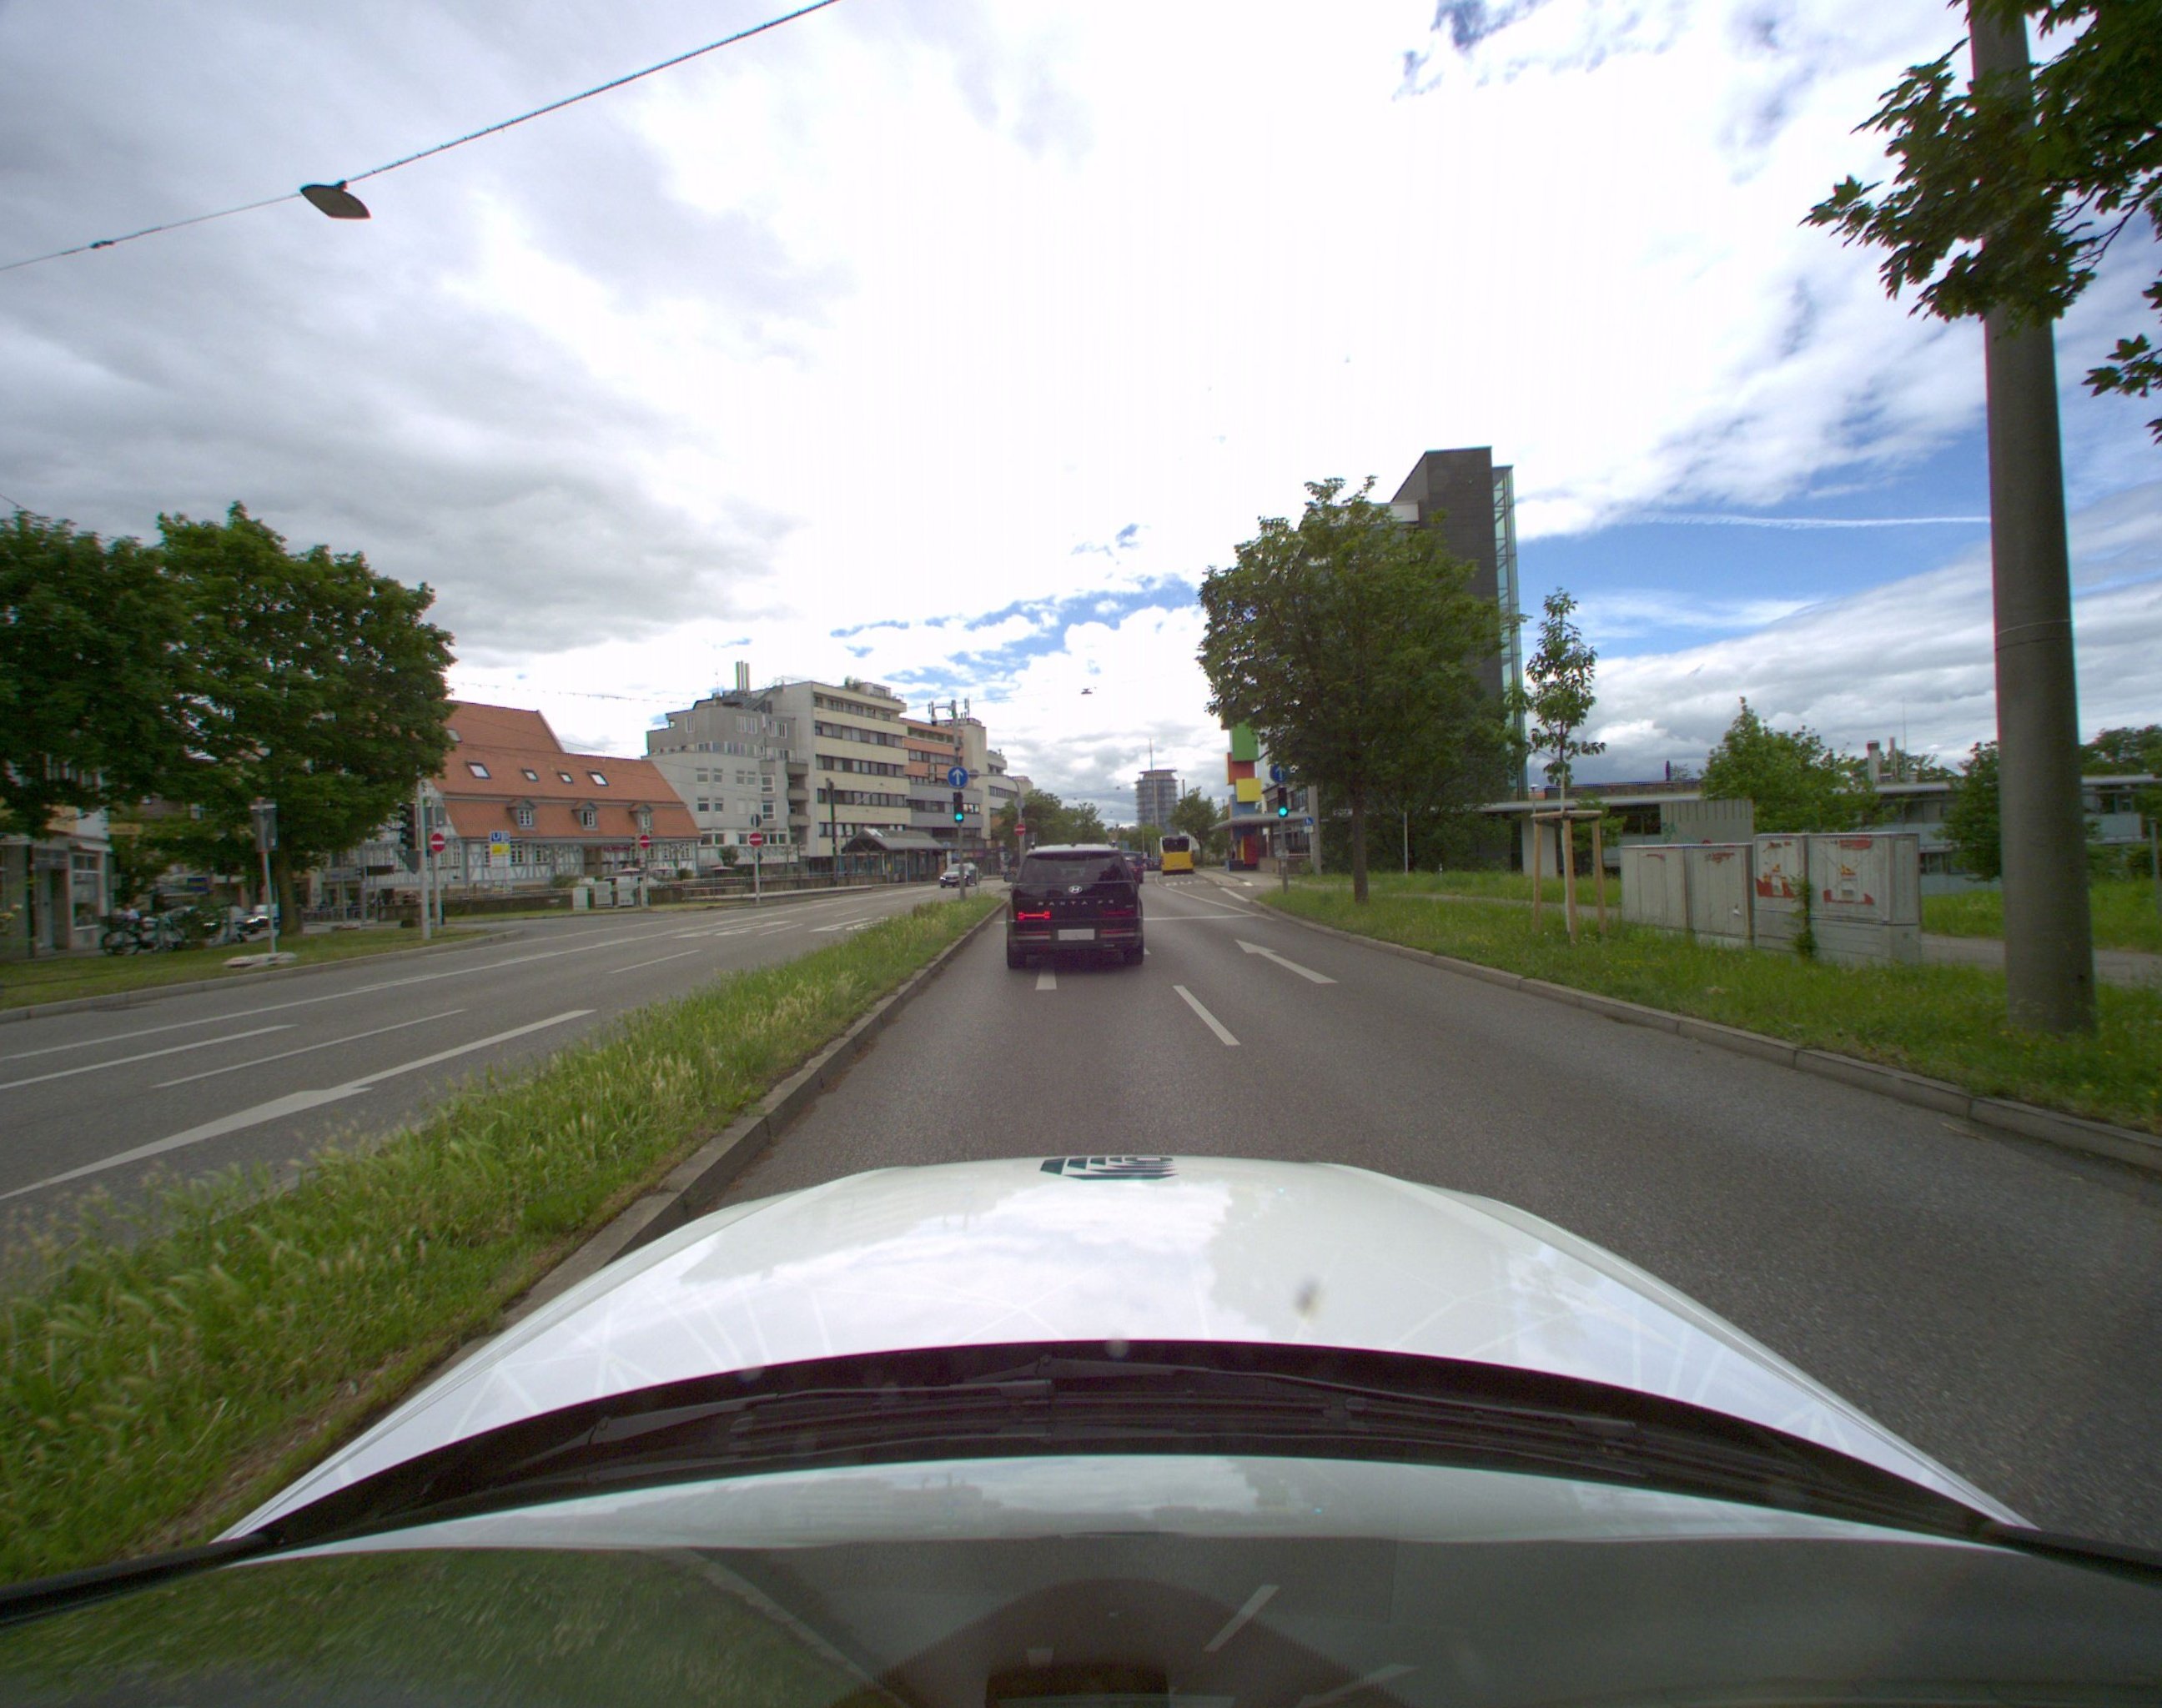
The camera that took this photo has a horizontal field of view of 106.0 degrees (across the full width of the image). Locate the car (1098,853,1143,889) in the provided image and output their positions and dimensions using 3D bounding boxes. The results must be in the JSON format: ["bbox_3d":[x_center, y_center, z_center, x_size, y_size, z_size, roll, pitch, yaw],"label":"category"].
[{"bbox_3d":[1.840,0.761,39.032,1.896,1.542,4.709,-1,0,0],"label":"car"}]

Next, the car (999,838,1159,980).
[{"bbox_3d":[-0.236,0.671,12.421,1.900,1.731,4.435,-1,0,-7],"label":"car"}]

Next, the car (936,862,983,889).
[{"bbox_3d":[-7.425,1.290,50.220,1.790,1.455,4.618,-2,-1,4],"label":"car"}]

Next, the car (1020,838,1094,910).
[{"bbox_3d":[-0.833,0.539,24.888,1.900,1.969,4.625,-1,0,-6],"label":"car"}]

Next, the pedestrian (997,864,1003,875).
[{"bbox_3d":[-13.066,2.474,130.934,0.723,1.673,0.585,-3,-1,29],"label":"pedestrian"}]

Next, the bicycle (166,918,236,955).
[{"bbox_3d":[-21.720,2.031,20.111,1.253,0.804,0.424,-2,-1,2],"label":"bicycle"}]

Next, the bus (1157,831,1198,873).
[{"bbox_3d":[8.152,-0.121,68.507,2.950,3.116,9.262,-4,-1,7],"label":"bus"}]

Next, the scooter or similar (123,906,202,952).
[{"bbox_3d":[-23.852,1.929,21.169,0.647,1.085,1.179,-3,-1,9],"label":"scooter or similar"}]

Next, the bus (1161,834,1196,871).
[{"bbox_3d":[9.321,-0.073,77.967,2.936,3.111,9.995,-4,-1,7],"label":"bus"}]

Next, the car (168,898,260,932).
[{"bbox_3d":[-39.788,2.805,37.345,4.623,1.381,1.838,-3,-1,30],"label":"car"}]

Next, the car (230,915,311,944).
[{"bbox_3d":[-43.110,4.011,43.312,3.861,1.295,1.999,-3,-1,28],"label":"car"}]

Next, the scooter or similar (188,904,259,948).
[{"bbox_3d":[-22.696,1.893,21.577,0.486,1.045,1.180,-3,-1,13],"label":"scooter or similar"}]

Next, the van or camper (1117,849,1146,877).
[{"bbox_3d":[3.831,0.639,62.425,1.987,1.917,4.409,-2,1,0],"label":"van or camper"}]

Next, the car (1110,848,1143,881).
[{"bbox_3d":[2.721,0.571,49.069,1.894,1.859,4.713,-1,0,3],"label":"car"}]

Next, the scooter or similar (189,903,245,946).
[{"bbox_3d":[-23.795,1.928,22.451,0.421,1.085,0.993,-2,-1,5],"label":"scooter or similar"}]

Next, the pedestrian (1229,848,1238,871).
[{"bbox_3d":[11.465,0.389,61.146,0.522,1.673,0.734,-2,-1,6],"label":"pedestrian"}]

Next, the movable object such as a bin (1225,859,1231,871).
[{"bbox_3d":[10.948,0.799,60.567,0.354,0.898,0.463,-2,-1,6],"label":"movable object such as a bin"}]
